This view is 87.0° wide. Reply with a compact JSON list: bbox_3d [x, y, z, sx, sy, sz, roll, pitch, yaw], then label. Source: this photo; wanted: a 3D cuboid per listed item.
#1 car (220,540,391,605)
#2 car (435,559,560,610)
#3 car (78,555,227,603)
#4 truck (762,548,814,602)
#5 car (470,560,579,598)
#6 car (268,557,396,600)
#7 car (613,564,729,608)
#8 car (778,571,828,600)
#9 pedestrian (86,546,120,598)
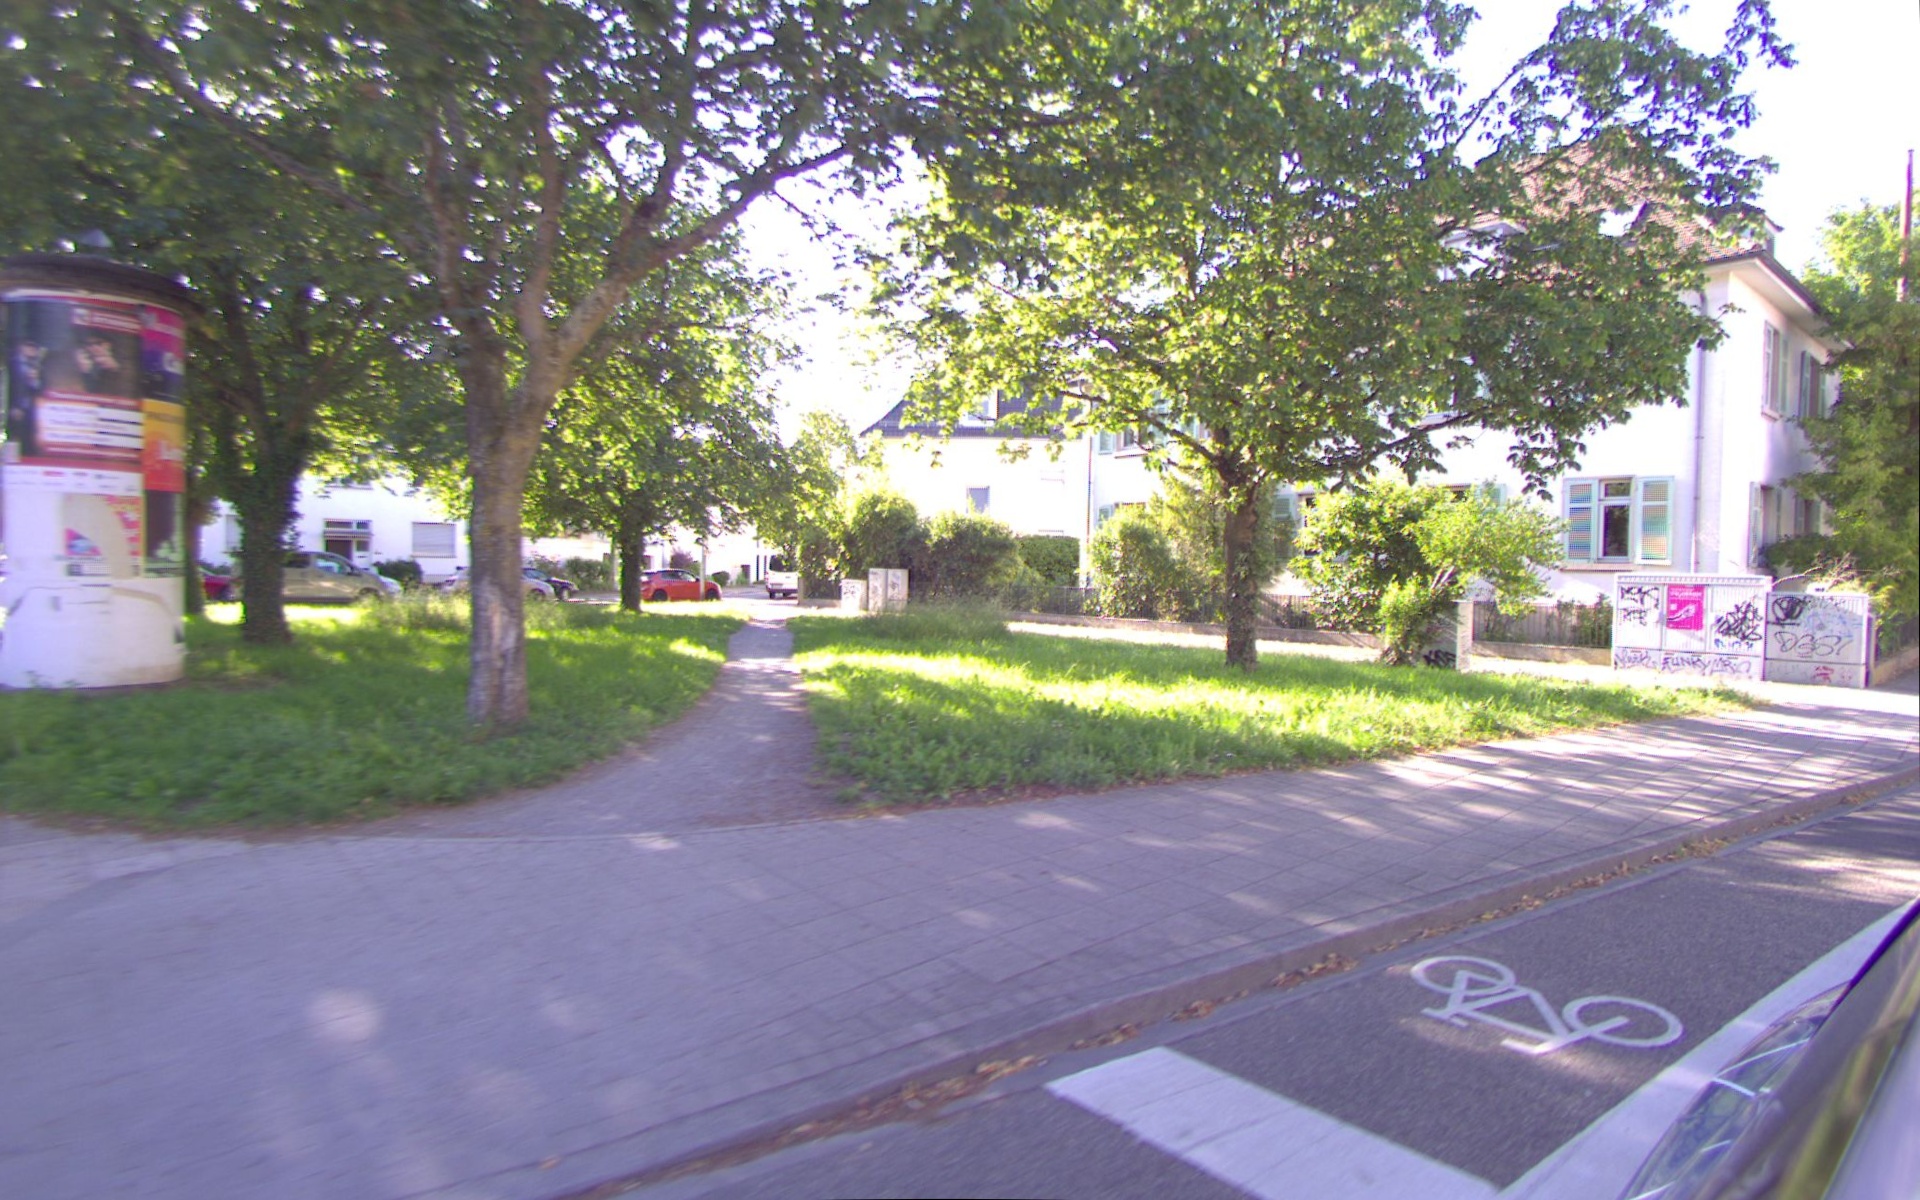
[{"bbox_3d":[-20.116,-0.824,31.162,4.263,1.858,1.922,0,2,-39],"label":"car"},{"bbox_3d":[-15.792,-0.536,34.603,3.641,1.668,1.924,0,2,-34],"label":"car"},{"bbox_3d":[-26.952,-0.697,33.848,3.828,1.489,1.757,0,2,-41],"label":"car"},{"bbox_3d":[-8.622,-1.280,51.087,1.961,2.608,4.984,1,2,-2],"label":"truck"},{"bbox_3d":[-17.932,-0.868,41.715,3.826,1.489,1.758,0,2,-39],"label":"car"},{"bbox_3d":[-23.209,-0.794,37.450,3.828,1.489,1.757,0,2,-41],"label":"car"},{"bbox_3d":[-11.039,-0.516,38.907,1.597,1.554,4.227,2,1,35],"label":"car"},{"bbox_3d":[-8.667,-0.823,56.205,1.729,1.489,3.890,1,2,7],"label":"car"},{"bbox_3d":[-29.701,-0.955,35.094,0.884,1.791,1.024,0,0,-40],"label":"pedestrian"}]
